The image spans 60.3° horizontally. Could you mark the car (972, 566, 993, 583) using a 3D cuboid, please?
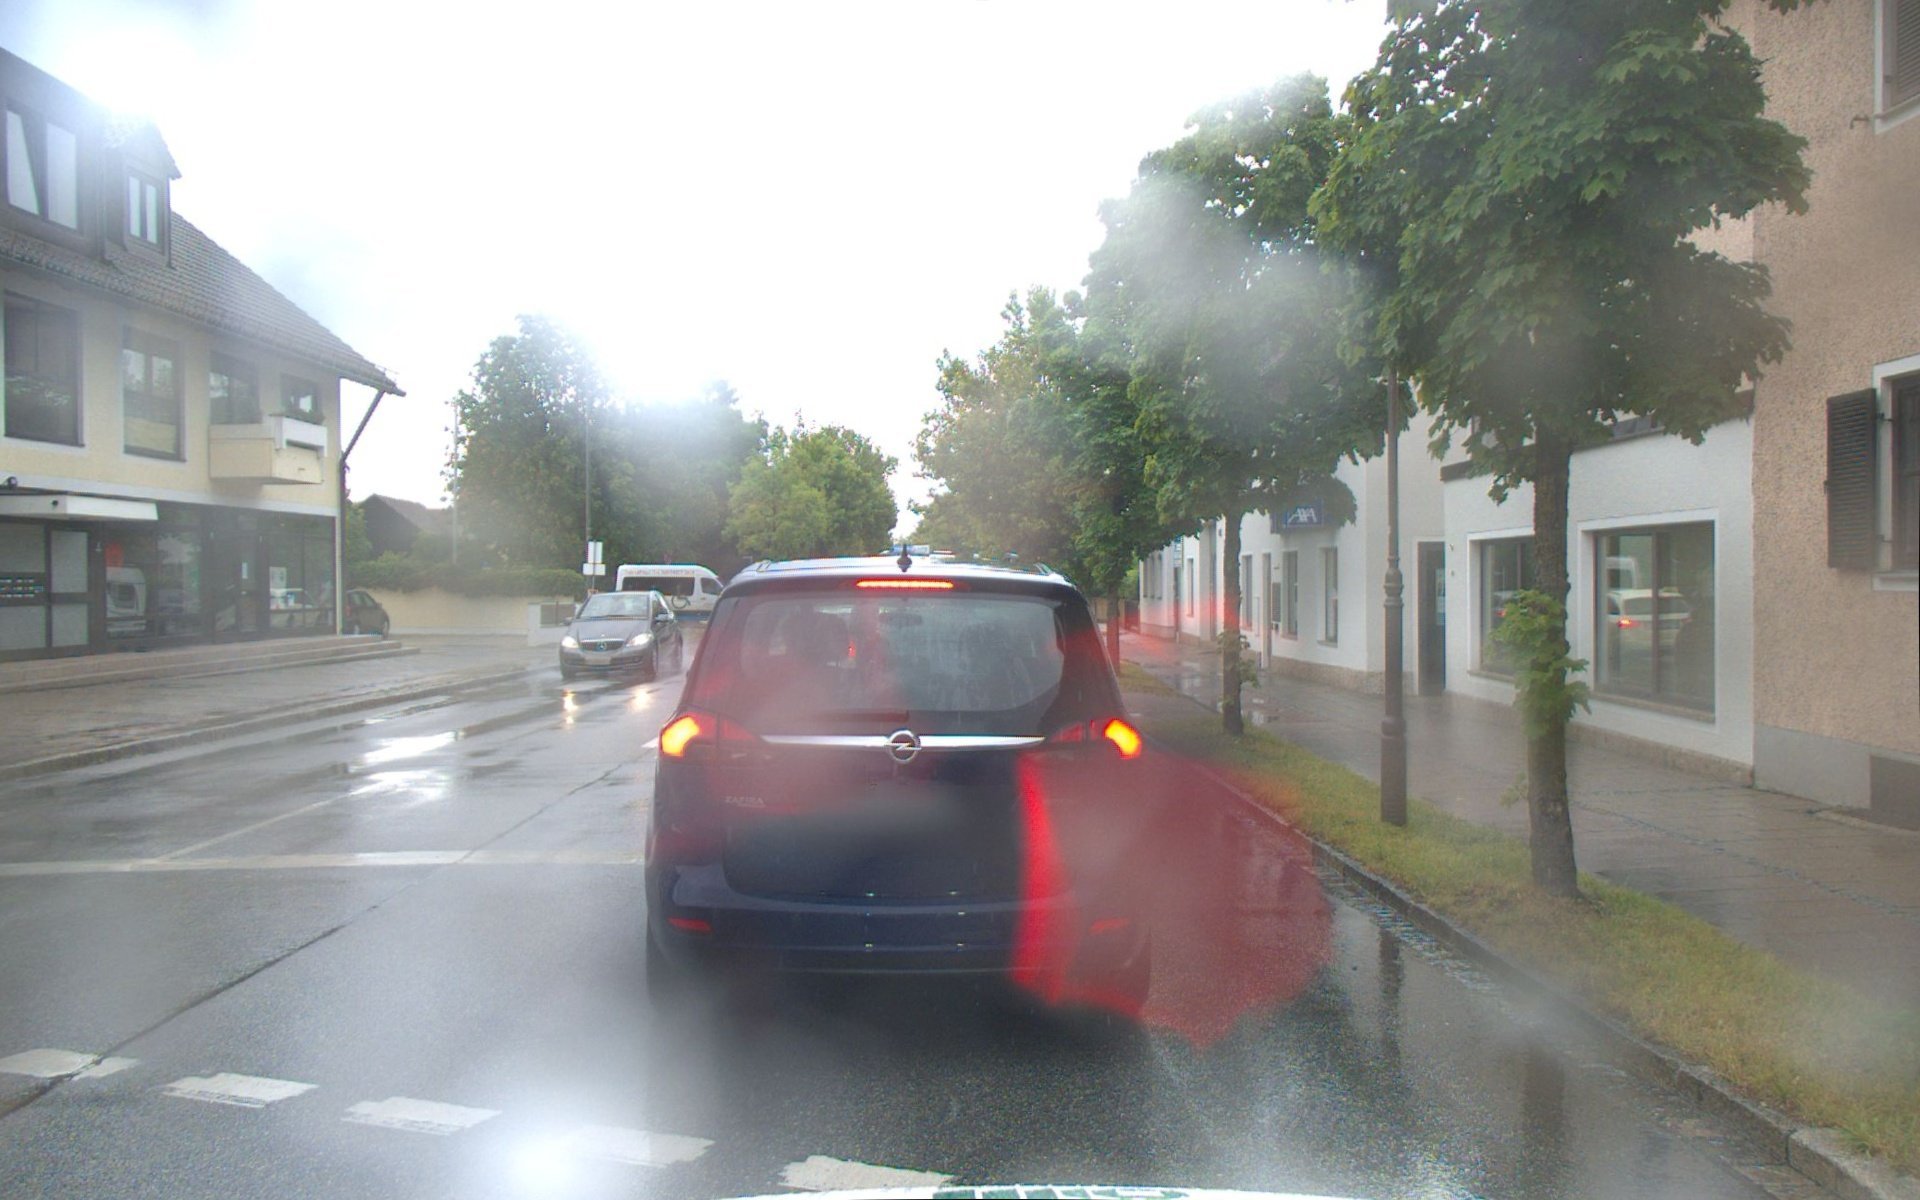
[{"bbox_3d":[1.930,-2.205,142.436,1.597,1.402,3.622,-1,0,-1],"label":"car"}]

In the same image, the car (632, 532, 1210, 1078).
[{"bbox_3d":[-0.141,0.623,6.885,1.733,1.632,3.662,1,0,-1],"label":"car"}]

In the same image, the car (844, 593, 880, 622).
[{"bbox_3d":[-5.545,0.394,93.894,1.887,1.594,4.125,-1,0,-1],"label":"car"}]

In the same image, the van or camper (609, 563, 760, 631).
[{"bbox_3d":[-11.491,-0.141,69.301,6.129,2.754,2.098,0,0,-7],"label":"van or camper"}]

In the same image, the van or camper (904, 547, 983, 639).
[{"bbox_3d":[-0.532,-0.215,51.518,2.312,2.712,5.370,0,0,-1],"label":"van or camper"}]

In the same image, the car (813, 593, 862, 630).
[{"bbox_3d":[-5.486,0.509,74.317,1.927,1.590,4.151,-1,0,-1],"label":"car"}]

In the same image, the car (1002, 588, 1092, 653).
[{"bbox_3d":[2.285,0.531,44.323,2.075,1.609,3.934,1,0,-2],"label":"car"}]

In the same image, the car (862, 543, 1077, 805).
[{"bbox_3d":[0.044,0.513,13.147,1.470,1.807,3.111,1,0,-1],"label":"car"}]

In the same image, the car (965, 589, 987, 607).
[{"bbox_3d":[1.276,-0.178,132.858,1.597,1.402,3.622,1,0,-1],"label":"car"}]

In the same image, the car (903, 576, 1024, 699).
[{"bbox_3d":[0.024,0.525,25.427,1.720,1.736,3.618,0,0,-1],"label":"car"}]

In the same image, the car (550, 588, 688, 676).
[{"bbox_3d":[-6.468,0.569,31.786,1.877,1.560,3.898,-1,0,-1],"label":"car"}]

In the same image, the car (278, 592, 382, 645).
[{"bbox_3d":[-17.655,0.489,46.483,1.574,1.404,3.508,-1,0,0],"label":"car"}]
